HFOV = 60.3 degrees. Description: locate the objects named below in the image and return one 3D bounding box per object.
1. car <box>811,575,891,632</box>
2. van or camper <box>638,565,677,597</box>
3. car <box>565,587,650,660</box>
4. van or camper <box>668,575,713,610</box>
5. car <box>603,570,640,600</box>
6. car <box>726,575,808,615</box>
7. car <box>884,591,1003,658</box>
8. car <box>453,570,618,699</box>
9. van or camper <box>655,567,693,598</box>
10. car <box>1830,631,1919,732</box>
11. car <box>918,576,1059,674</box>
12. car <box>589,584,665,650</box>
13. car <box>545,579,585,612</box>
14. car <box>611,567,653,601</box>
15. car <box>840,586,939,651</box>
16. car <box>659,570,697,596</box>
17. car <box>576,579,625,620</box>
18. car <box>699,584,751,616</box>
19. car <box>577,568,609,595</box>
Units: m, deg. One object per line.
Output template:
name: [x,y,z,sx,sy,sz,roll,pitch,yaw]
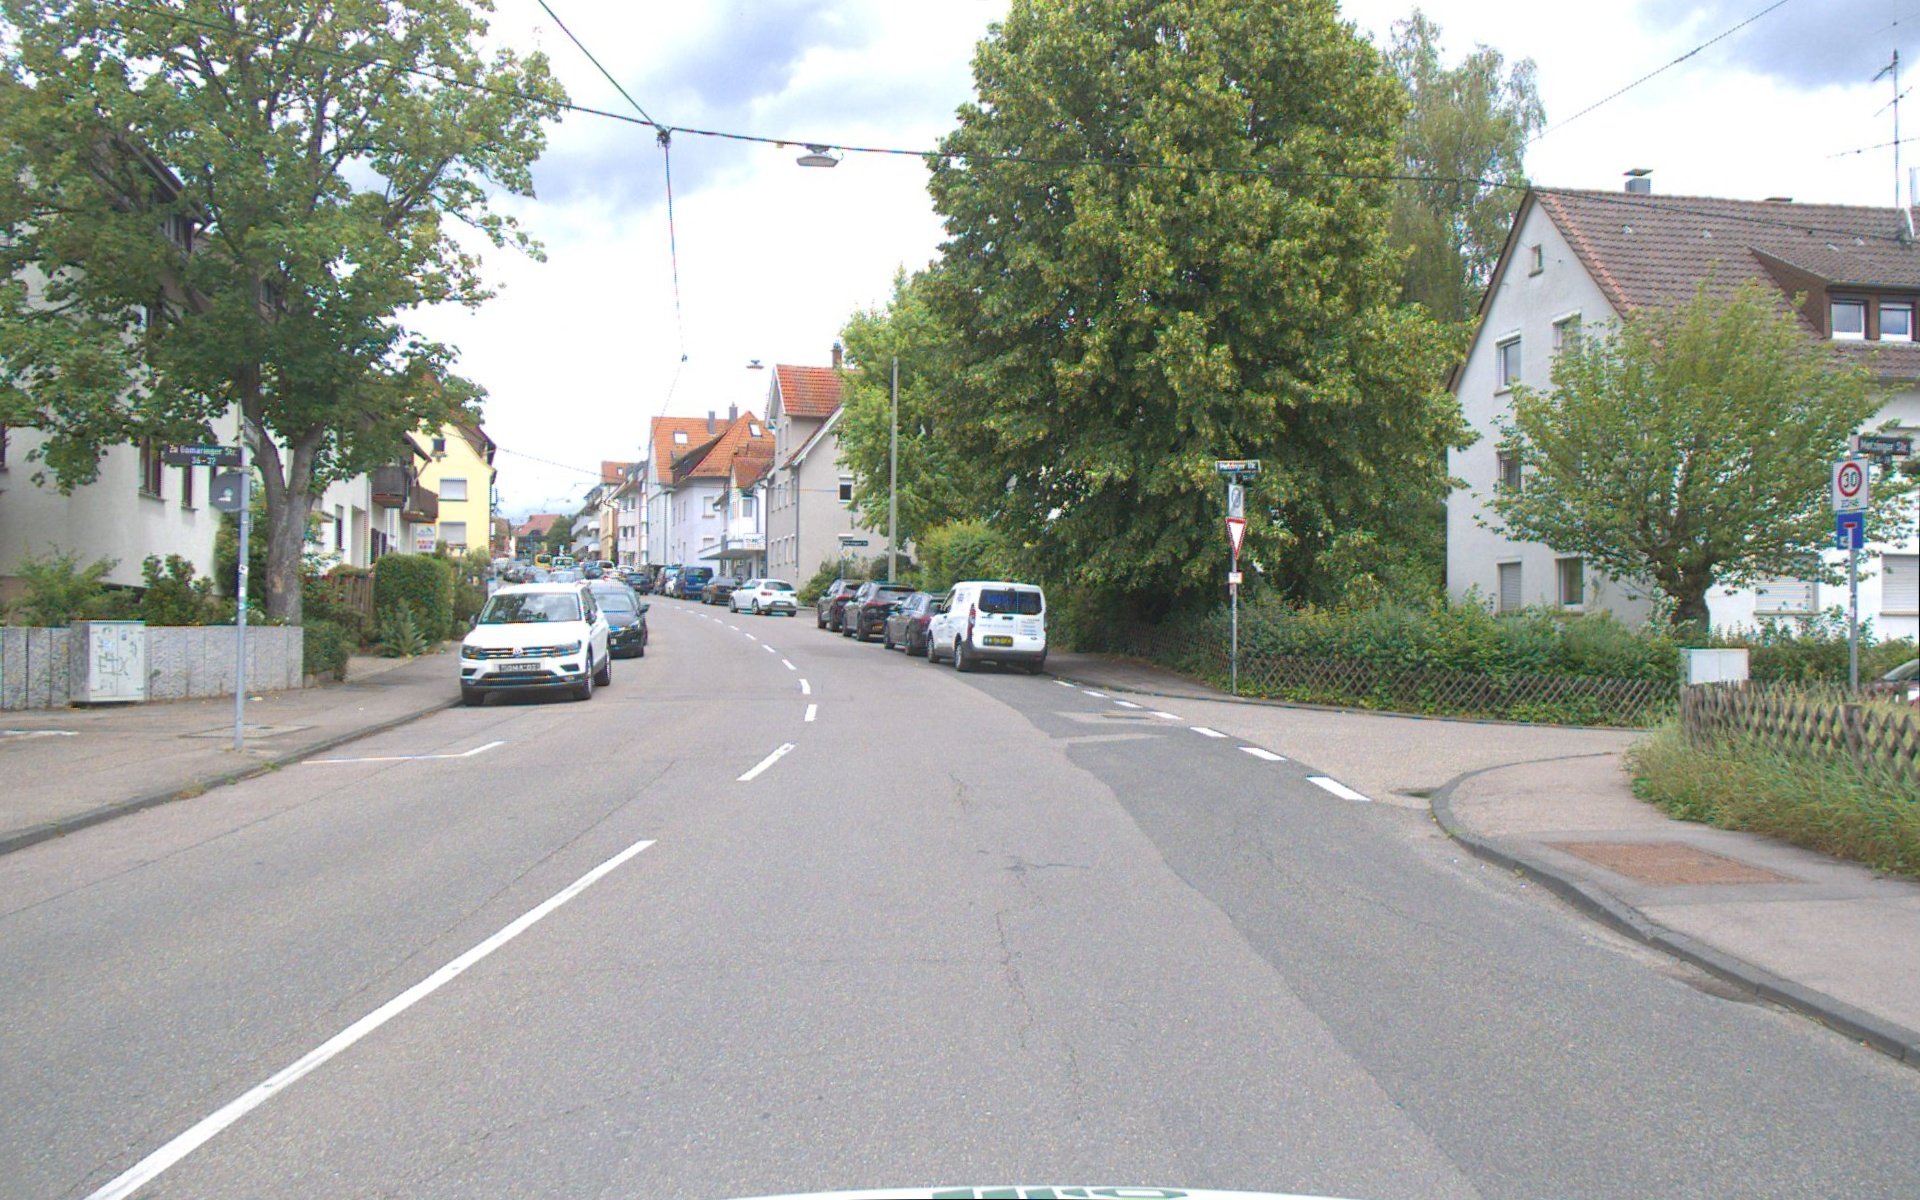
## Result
car: [-3.475,0.086,52.039,1.779,1.643,4.524,2,0,-13]
van or camper: [-21.538,-1.378,117.464,1.962,2.101,5.917,3,0,-17]
car: [-7.922,0.471,37.038,1.732,1.463,4.064,-1,1,-13]
van or camper: [-16.086,-0.486,98.555,1.896,1.959,4.807,2,1,-18]
car: [-24.405,-1.127,119.135,2.119,2.049,3.980,2,0,-18]
car: [-7.873,-0.222,67.301,1.920,1.464,3.961,1,1,-30]
car: [-0.470,0.544,39.798,1.959,1.504,4.605,1,0,-13]
car: [-6.333,0.454,25.123,1.814,1.744,4.568,-1,1,-7]
van or camper: [-19.028,-1.184,109.968,1.842,1.860,4.657,3,0,-18]
car: [16.595,1.397,27.494,3.637,1.591,1.680,2,-4,-16]
car: [0.508,0.464,34.405,1.807,1.805,4.302,3,1,-14]
car: [-8.462,0.382,41.917,1.732,1.463,4.066,-3,2,-12]
car: [-21.261,-0.270,89.181,1.801,1.605,4.022,-2,2,-10]
car: [-20.875,-1.030,105.154,2.119,2.049,3.980,2,0,-18]
car: [-2.046,0.484,46.476,1.959,1.643,4.524,2,0,-13]
car: [-17.677,-1.084,103.628,1.687,1.461,4.616,2,0,-18]
car: [-14.245,-0.041,65.439,1.697,1.483,3.883,-3,1,-15]
car: [-12.507,-0.033,87.867,1.962,1.544,4.868,2,0,-17]
car: [-29.922,-1.519,134.640,2.119,2.049,3.980,2,0,-18]
